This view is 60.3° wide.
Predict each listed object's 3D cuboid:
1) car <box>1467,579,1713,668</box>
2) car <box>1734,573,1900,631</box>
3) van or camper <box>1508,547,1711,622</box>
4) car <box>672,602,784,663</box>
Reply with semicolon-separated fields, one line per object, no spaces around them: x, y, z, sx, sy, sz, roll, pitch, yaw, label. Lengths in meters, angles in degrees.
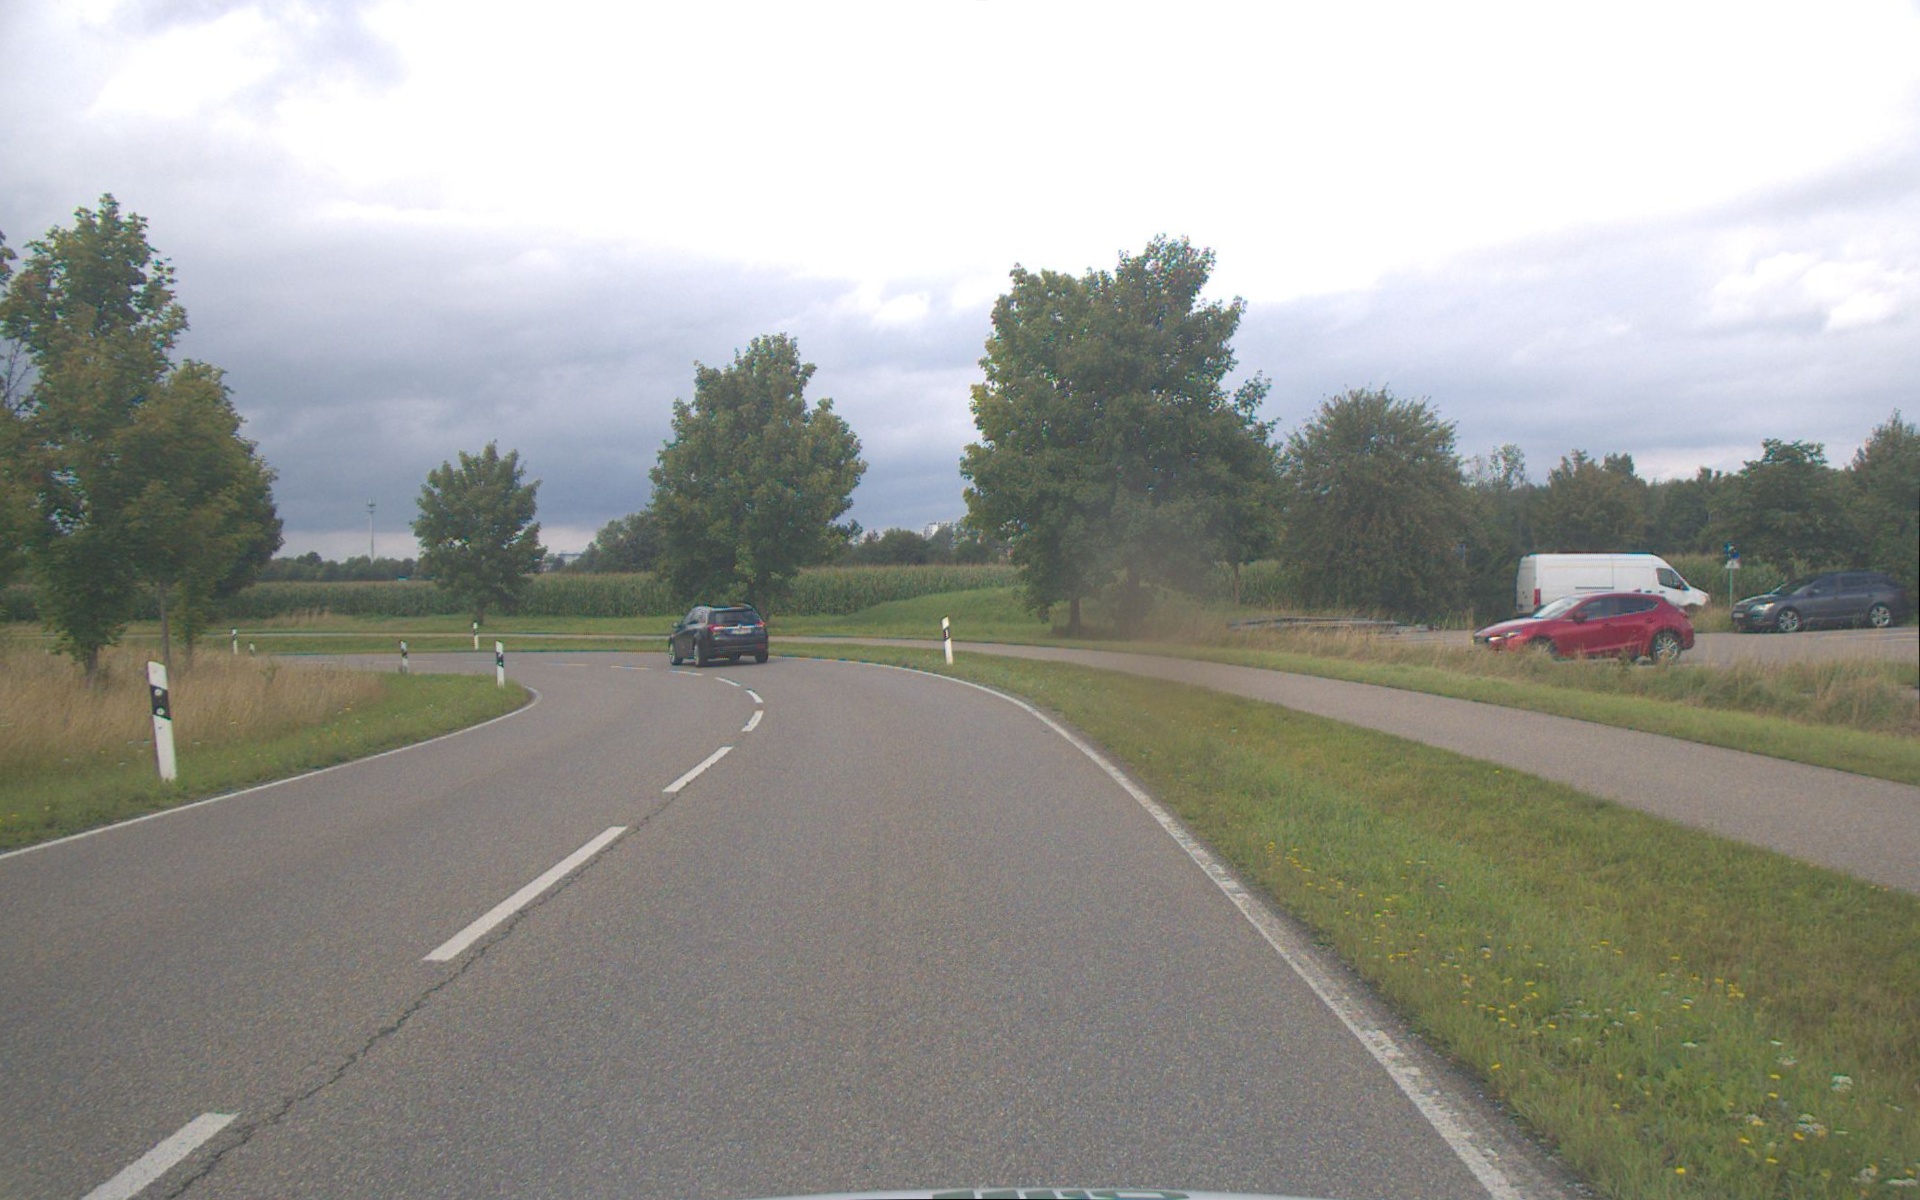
12.796;0.457;33.756;4.245;1.603;1.969;-2;0;-5;car
22.698;0.053;43.888;3.553;1.465;1.706;-1;0;-2;car
23.642;-0.568;60.353;6.605;2.606;2.048;-1;0;-1;van or camper
-5.935;0.781;41.927;1.817;1.442;3.971;-1;0;-24;car
